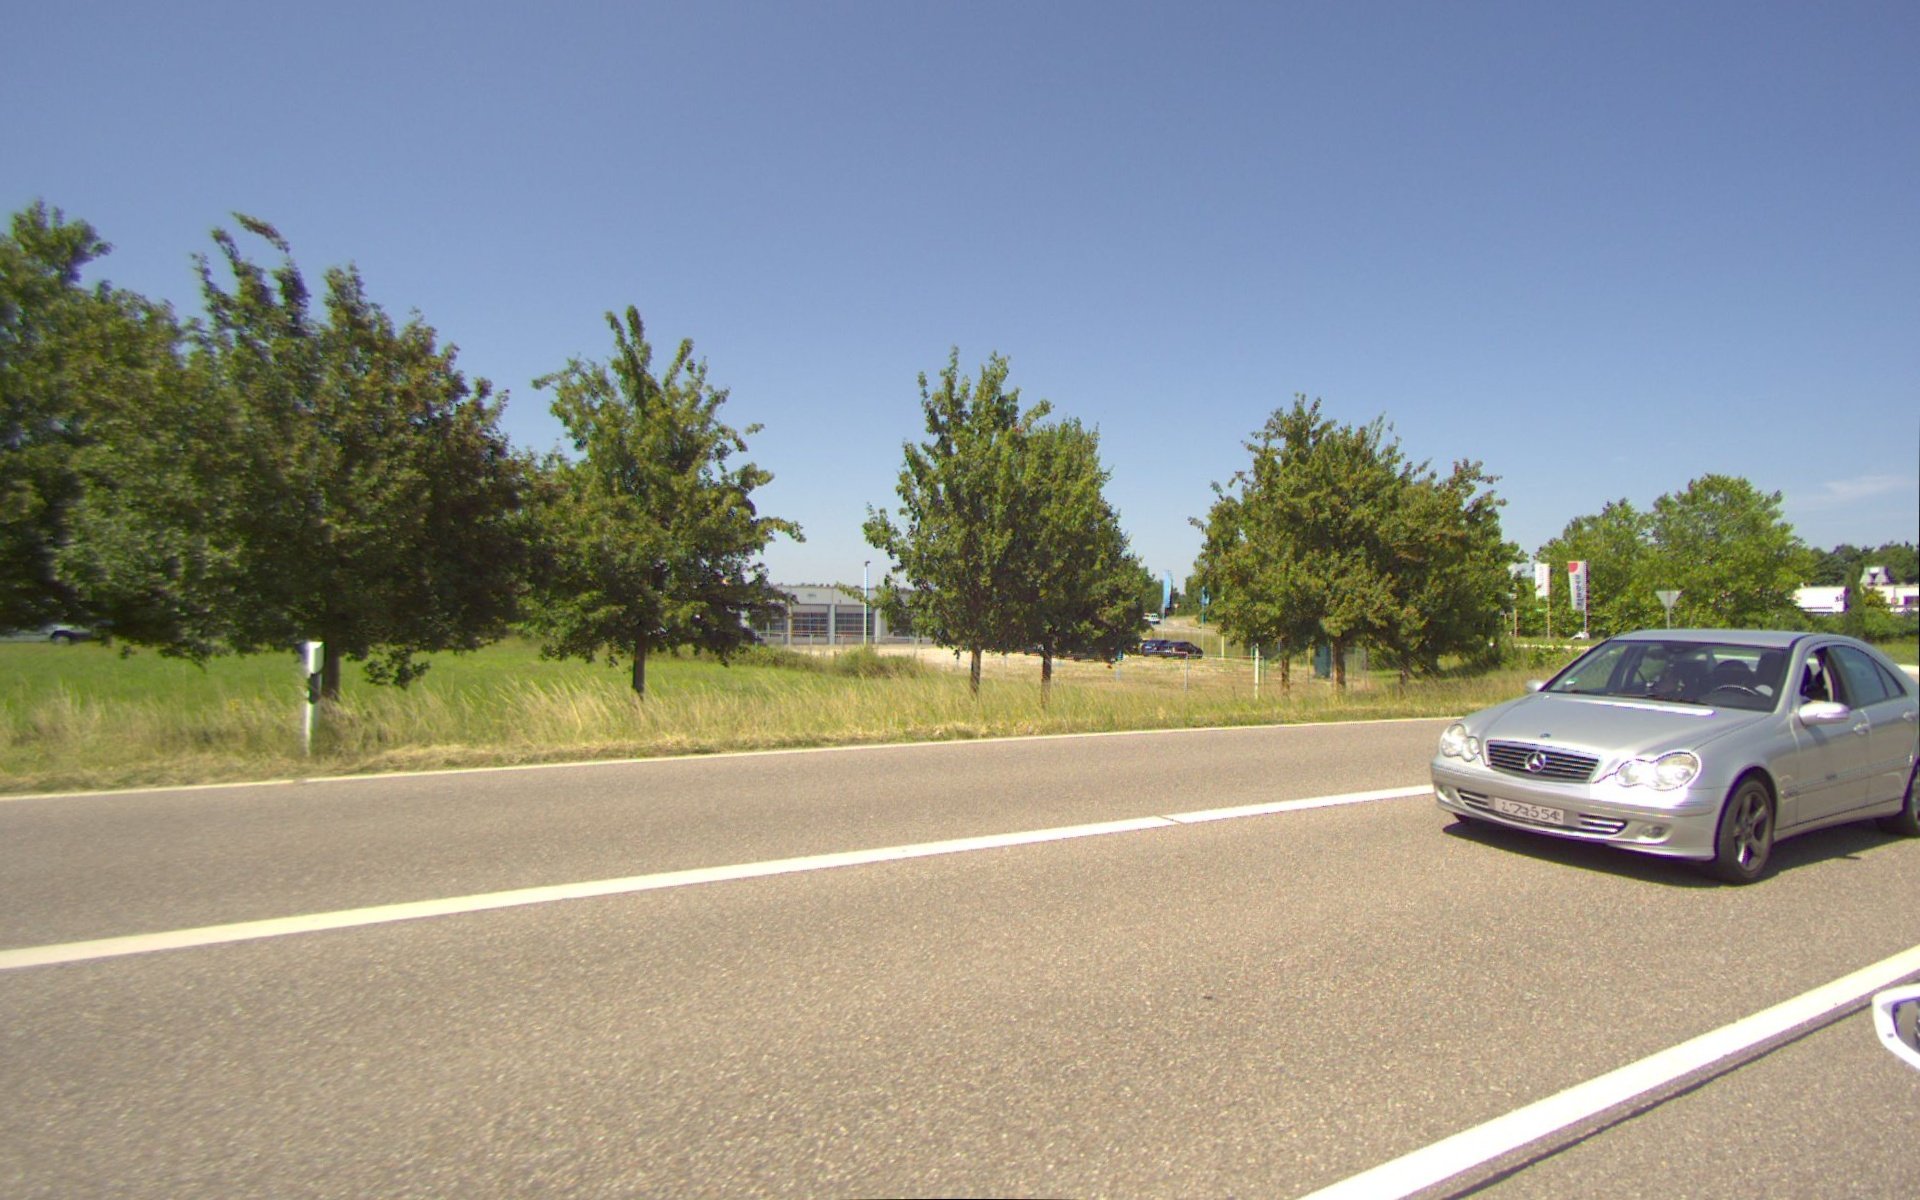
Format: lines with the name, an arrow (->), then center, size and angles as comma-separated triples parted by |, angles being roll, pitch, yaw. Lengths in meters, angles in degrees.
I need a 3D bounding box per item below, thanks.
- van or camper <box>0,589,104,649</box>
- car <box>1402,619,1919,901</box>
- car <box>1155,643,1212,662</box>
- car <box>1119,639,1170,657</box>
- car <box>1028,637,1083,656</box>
van or camper -> -39.242, 0.730, 40.847 | 6.477, 2.394, 2.445 | 2, -1, -37
car -> 5.300, 0.897, 7.093 | 4.439, 1.410, 1.722 | 2, 0, -31
car -> 17.576, 4.123, 79.140 | 3.923, 1.412, 1.999 | 1, -1, -4
car -> 15.755, 4.077, 85.965 | 3.923, 1.412, 1.999 | 1, -1, -4
car -> 7.307, 3.556, 76.912 | 3.923, 1.412, 1.999 | 1, -1, -4
